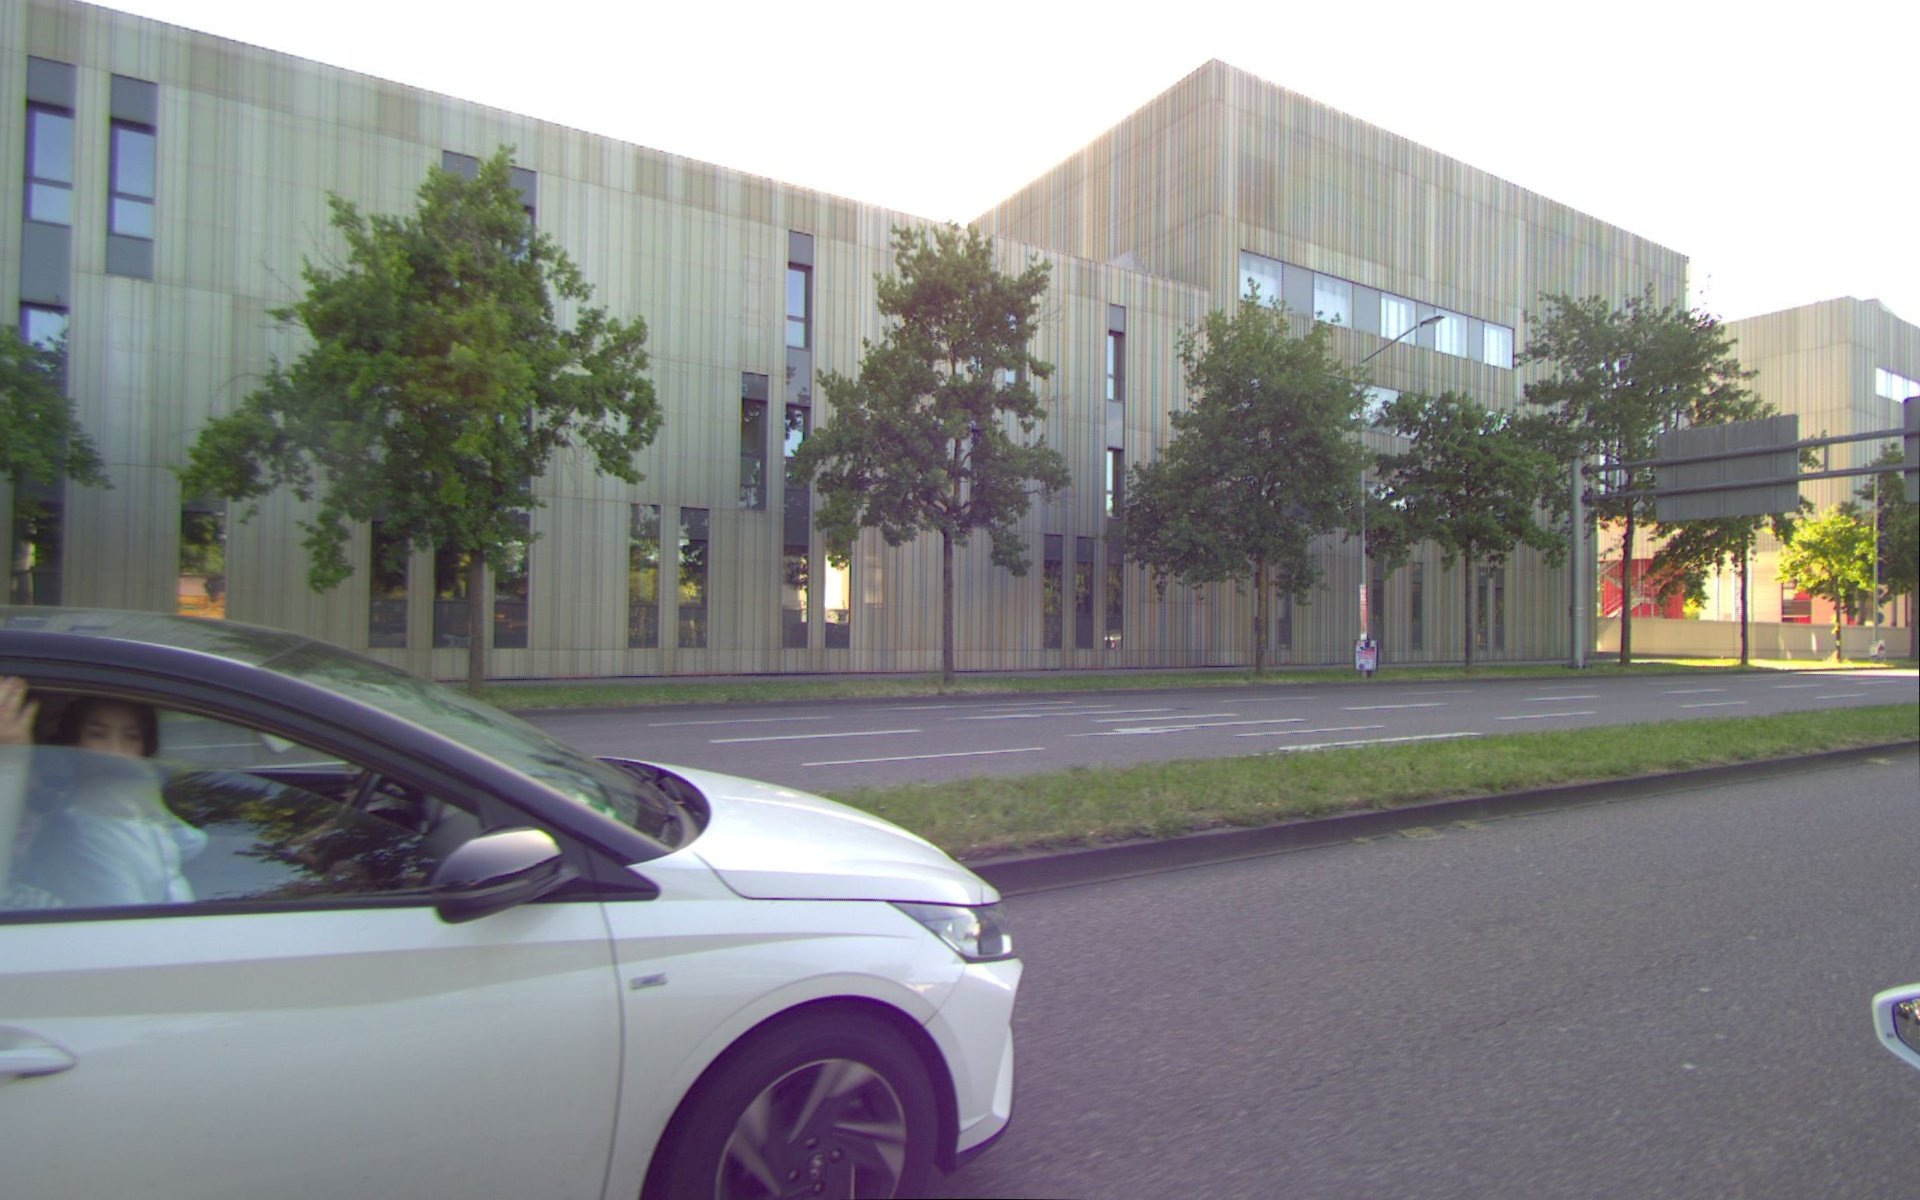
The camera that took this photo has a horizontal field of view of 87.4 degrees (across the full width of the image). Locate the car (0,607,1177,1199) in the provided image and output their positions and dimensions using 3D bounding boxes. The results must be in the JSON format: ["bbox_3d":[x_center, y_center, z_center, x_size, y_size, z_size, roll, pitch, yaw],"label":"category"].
[{"bbox_3d":[-1.620,0.743,2.279,4.028,1.427,1.769,1,-1,-31],"label":"car"}]
